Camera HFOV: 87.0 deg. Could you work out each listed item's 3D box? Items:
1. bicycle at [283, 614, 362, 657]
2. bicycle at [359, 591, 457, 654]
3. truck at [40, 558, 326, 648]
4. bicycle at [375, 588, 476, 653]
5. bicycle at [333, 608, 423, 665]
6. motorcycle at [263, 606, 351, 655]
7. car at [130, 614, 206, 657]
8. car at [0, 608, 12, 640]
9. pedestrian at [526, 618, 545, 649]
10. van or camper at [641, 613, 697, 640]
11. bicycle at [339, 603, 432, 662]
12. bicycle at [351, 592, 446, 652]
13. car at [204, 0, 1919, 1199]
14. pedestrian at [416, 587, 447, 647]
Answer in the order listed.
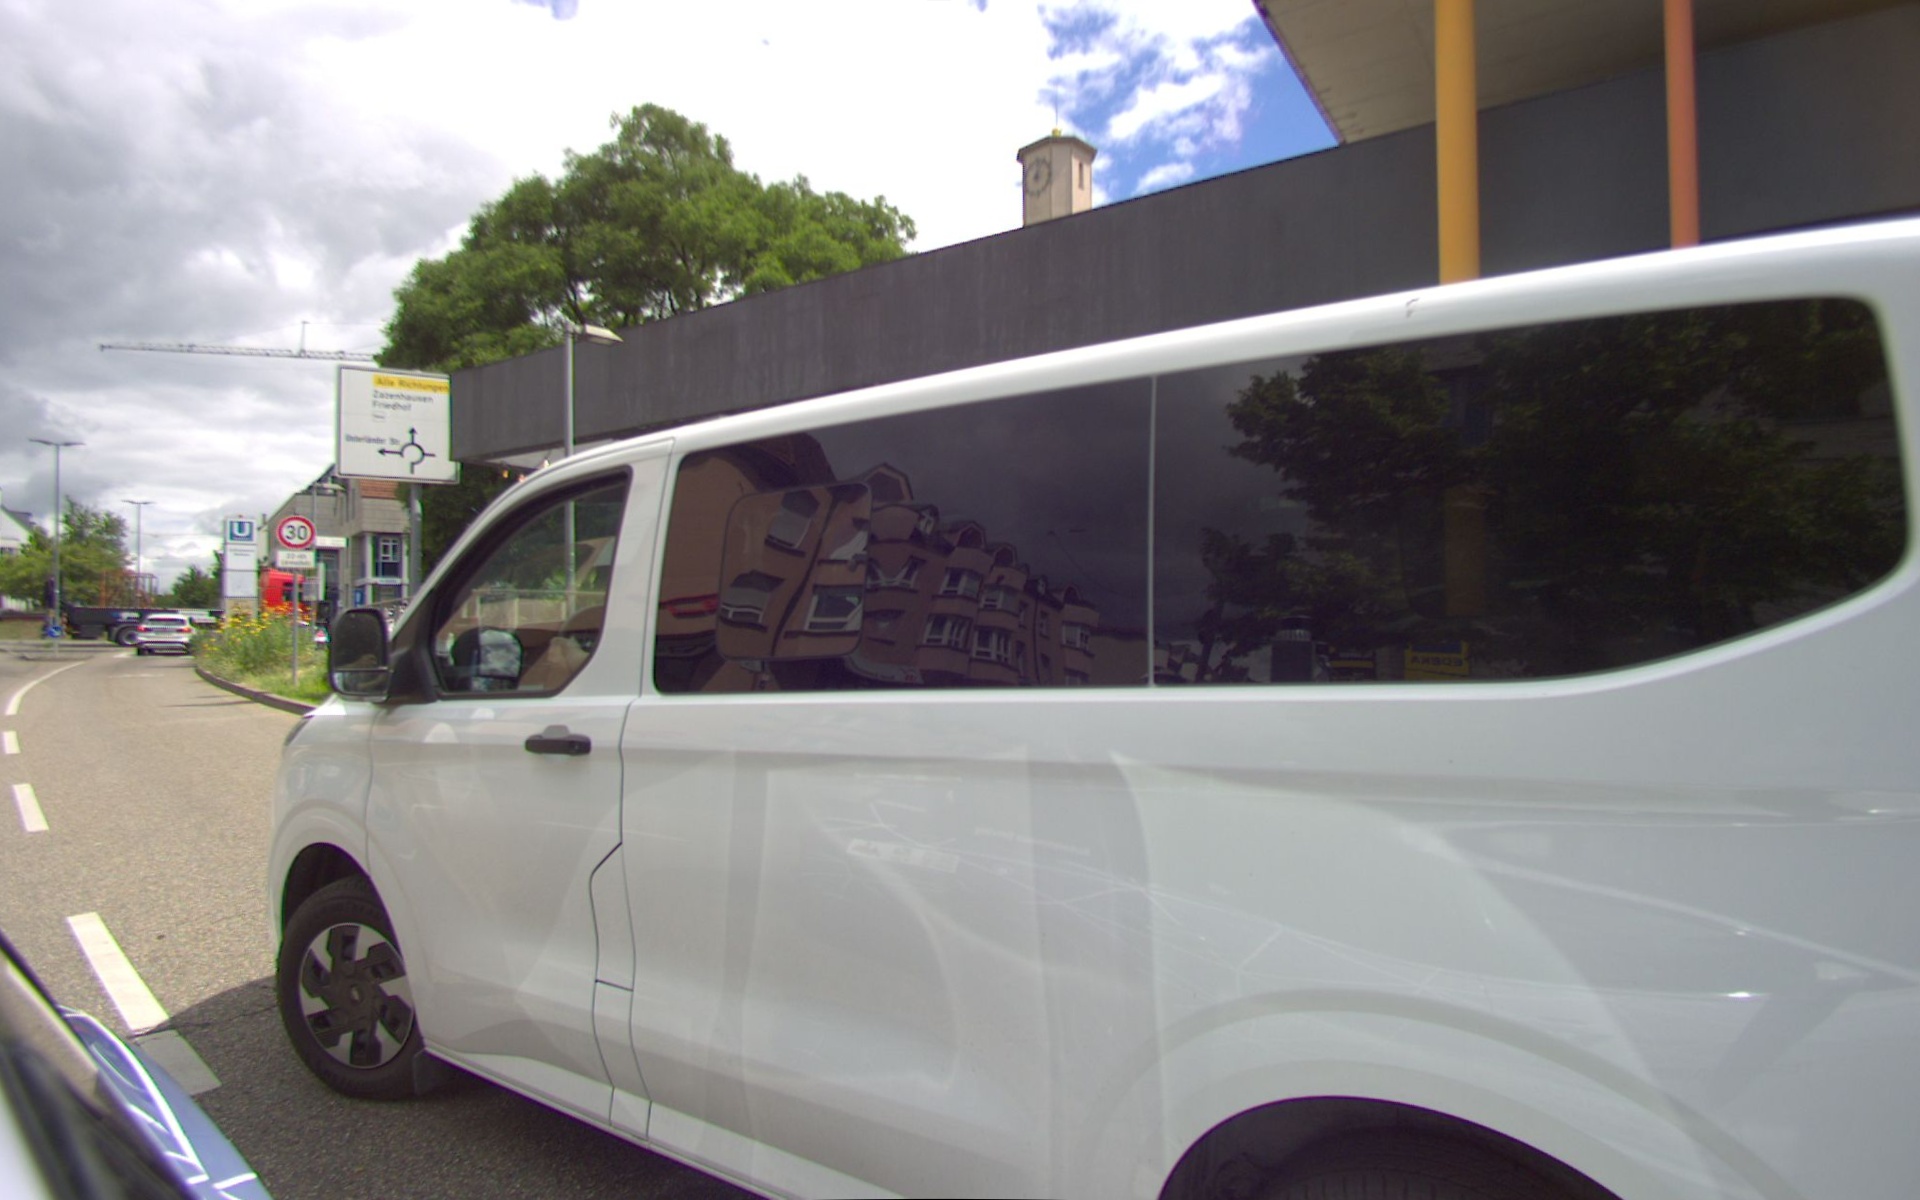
[{"bbox_3d":[-16.530,0.921,26.269,0.515,1.090,1.667,-4,-4,42],"label":"bicycle"},{"bbox_3d":[-10.403,0.431,19.098,1.528,1.136,0.534,2,-2,-43],"label":"bicycle"},{"bbox_3d":[-36.704,0.096,48.295,10.683,3.871,2.686,0,0,-43],"label":"truck"},{"bbox_3d":[-9.719,0.382,18.446,1.528,1.136,0.534,2,-2,-43],"label":"bicycle"},{"bbox_3d":[-12.032,0.743,20.947,1.528,1.136,0.534,2,-2,-43],"label":"bicycle"},{"bbox_3d":[-20.152,0.947,31.251,2.163,1.460,0.649,2,-1,-44],"label":"motorcycle"},{"bbox_3d":[-31.335,1.400,40.149,1.797,1.597,4.177,3,-2,-31],"label":"car"},{"bbox_3d":[-52.532,1.274,52.930,1.834,1.675,3.964,0,0,26],"label":"car"},{"bbox_3d":[-23.775,1.893,56.665,0.817,1.688,0.681,-3,-3,44],"label":"pedestrian"},{"bbox_3d":[-26.078,2.369,90.607,4.645,2.400,1.985,-1,-1,23],"label":"van or camper"},{"bbox_3d":[-11.551,0.648,20.368,1.528,1.136,0.534,2,-2,-43],"label":"bicycle"},{"bbox_3d":[-10.975,0.438,19.812,1.528,1.136,0.534,2,-2,-43],"label":"bicycle"},{"bbox_3d":[0.235,0.394,2.627,5.382,2.029,1.976,-1,0,36],"label":"car"},{"bbox_3d":[-14.750,0.487,28.243,0.651,1.641,0.801,0,-2,-36],"label":"pedestrian"}]
